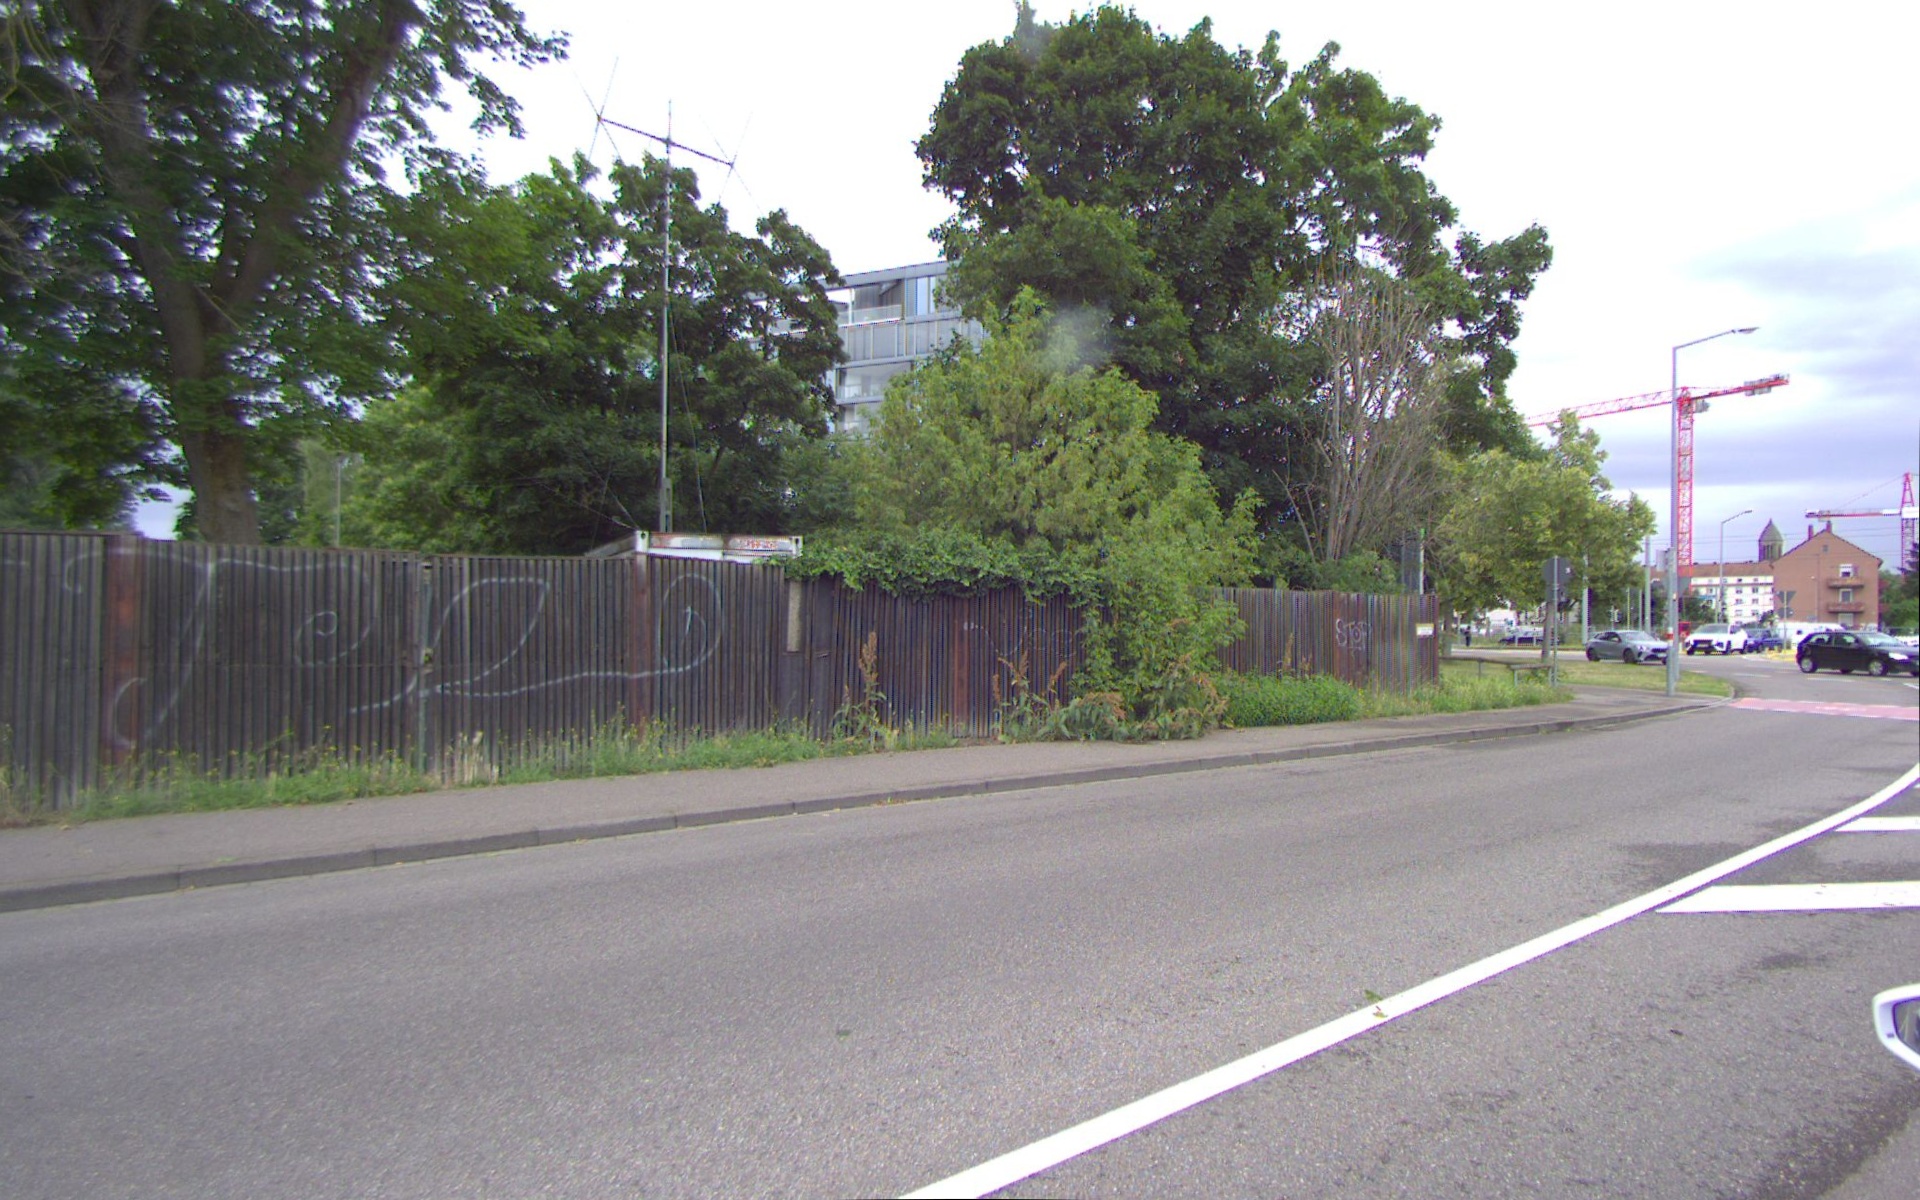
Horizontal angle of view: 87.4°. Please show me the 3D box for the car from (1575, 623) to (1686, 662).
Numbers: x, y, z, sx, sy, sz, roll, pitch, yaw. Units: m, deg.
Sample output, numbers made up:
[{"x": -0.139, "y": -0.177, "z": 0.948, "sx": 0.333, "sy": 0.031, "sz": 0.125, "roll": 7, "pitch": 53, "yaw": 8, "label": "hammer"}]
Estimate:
[{"x": 29.356, "y": 1.835, "z": 44.158, "sx": 2.057, "sy": 1.624, "sz": 4.442, "roll": 0, "pitch": -1, "yaw": 2, "label": "car"}]

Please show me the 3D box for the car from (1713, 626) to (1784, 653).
[{"x": 45.741, "y": 2.266, "z": 58.268, "sx": 3.953, "sy": 1.509, "sz": 1.922, "roll": 1, "pitch": -1, "yaw": -30, "label": "car"}]

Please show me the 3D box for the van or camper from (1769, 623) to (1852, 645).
[{"x": 84.118, "y": 3.322, "z": 99.471, "sx": 1.969, "sy": 2.040, "sz": 6.171, "roll": 1, "pitch": -1, "yaw": -19, "label": "van or camper"}]

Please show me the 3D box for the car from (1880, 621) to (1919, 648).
[{"x": 58.960, "y": 2.093, "z": 60.725, "sx": 4.580, "sy": 1.656, "sz": 2.001, "roll": 0, "pitch": -1, "yaw": 8, "label": "car"}]

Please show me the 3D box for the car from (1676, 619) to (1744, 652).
[{"x": 40.507, "y": 1.909, "z": 54.217, "sx": 4.152, "sy": 1.706, "sz": 1.916, "roll": 1, "pitch": -1, "yaw": -38, "label": "car"}]

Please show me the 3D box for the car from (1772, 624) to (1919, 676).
[{"x": 30.099, "y": 1.614, "z": 33.710, "sx": 2.058, "sy": 1.624, "sz": 4.440, "roll": 0, "pitch": -1, "yaw": -2, "label": "car"}]
